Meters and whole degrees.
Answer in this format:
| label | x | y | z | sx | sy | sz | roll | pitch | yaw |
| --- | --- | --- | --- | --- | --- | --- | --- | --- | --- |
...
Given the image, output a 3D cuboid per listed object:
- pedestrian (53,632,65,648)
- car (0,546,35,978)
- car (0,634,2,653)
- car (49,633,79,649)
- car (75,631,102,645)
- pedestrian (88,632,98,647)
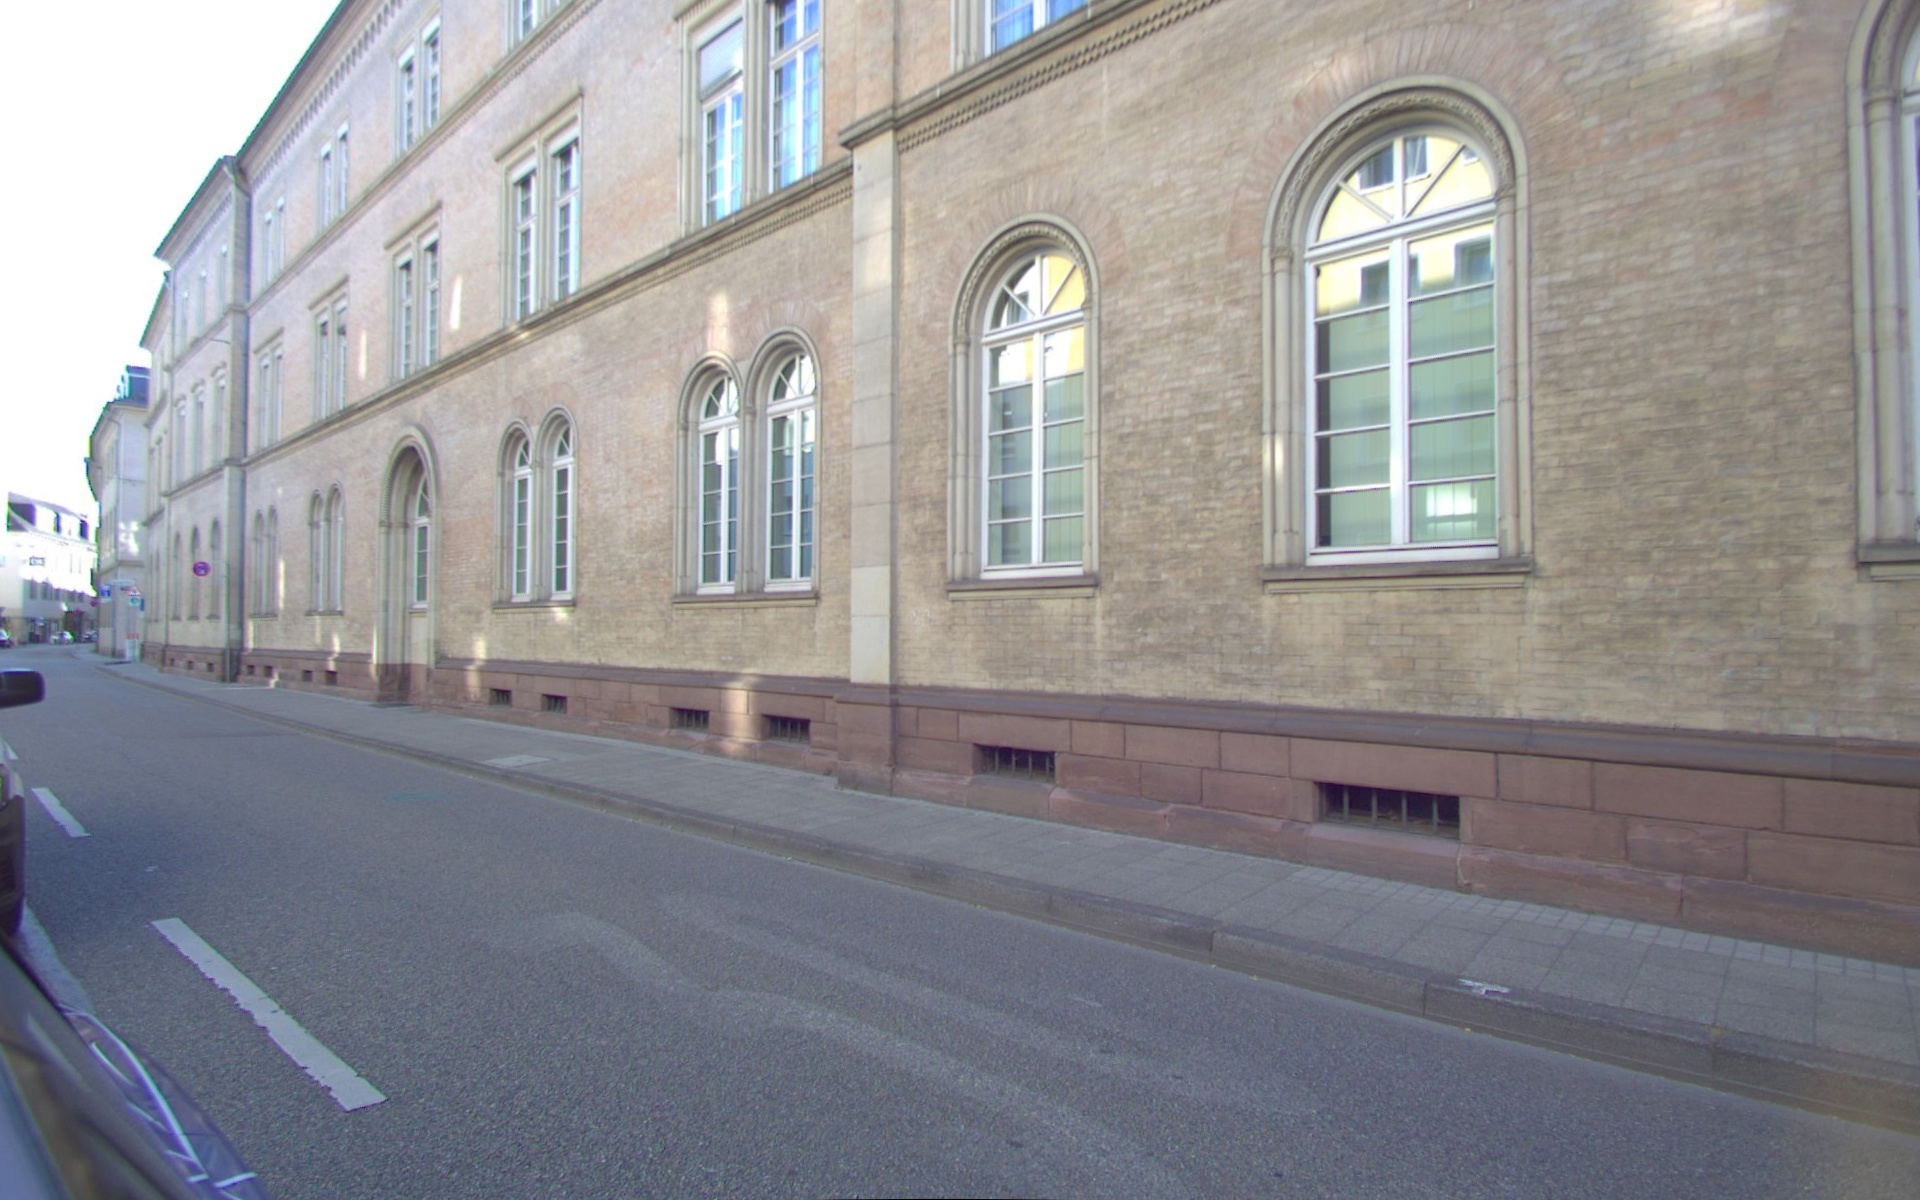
| label | x | y | z | sx | sy | sz | roll | pitch | yaw |
| --- | --- | --- | --- | --- | --- | --- | --- | --- | --- |
| pedestrian | -92.652 | 4.089 | 104.074 | 0.694 | 1.648 | 0.834 | 5 | -4 | -38 |
| car | -6.474 | 0.679 | 5.348 | 5.329 | 1.784 | 1.747 | -1 | -2 | 41 |
| car | -86.607 | 3.889 | 89.944 | 1.969 | 1.665 | 4.235 | -1 | 0 | -41 |
| car | -102.849 | 4.679 | 116.169 | 1.966 | 1.665 | 4.240 | -1 | 0 | -33 |
| car | -109.223 | 4.756 | 126.821 | 1.966 | 1.665 | 4.240 | -1 | 0 | -33 |
| pedestrian | -100.158 | 4.565 | 116.929 | 0.694 | 1.648 | 0.834 | 5 | -4 | -36 |
